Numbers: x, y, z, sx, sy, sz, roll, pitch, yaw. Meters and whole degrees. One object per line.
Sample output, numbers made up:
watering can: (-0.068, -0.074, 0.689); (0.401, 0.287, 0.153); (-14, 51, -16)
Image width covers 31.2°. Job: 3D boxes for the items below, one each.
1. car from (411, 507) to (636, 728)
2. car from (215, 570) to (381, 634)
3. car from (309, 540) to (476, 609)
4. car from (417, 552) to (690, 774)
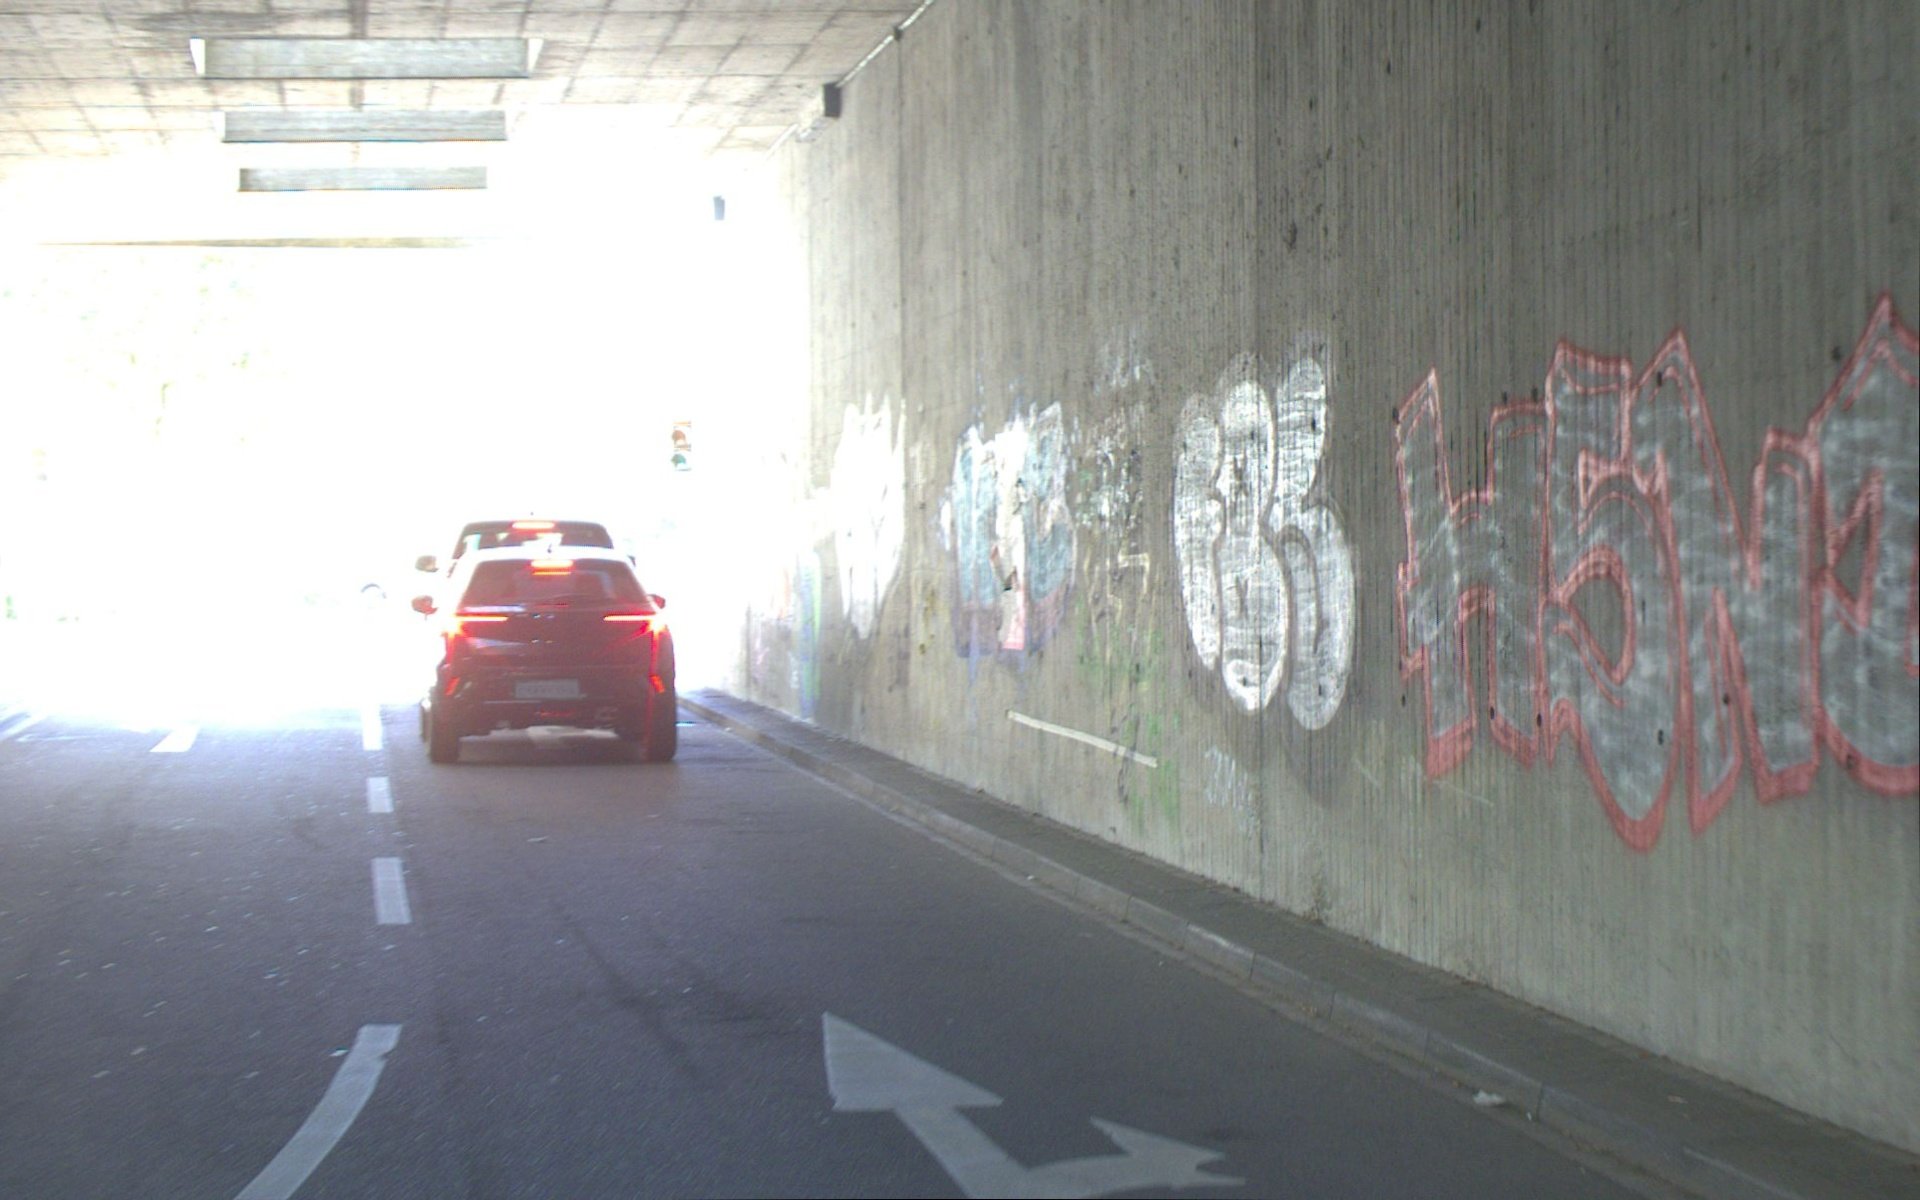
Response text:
car: (-4.139, 0.108, 32.077); (1.814, 1.876, 4.587); (-1, 1, -10)
car: (-16.757, 0.043, 87.150); (3.986, 1.568, 1.640); (-1, 0, -6)
car: (-15.101, -0.683, 91.689); (4.150, 1.733, 2.000); (-1, 1, -3)
car: (-3.131, 0.403, 25.865); (1.825, 1.496, 4.212); (-1, 1, -9)
